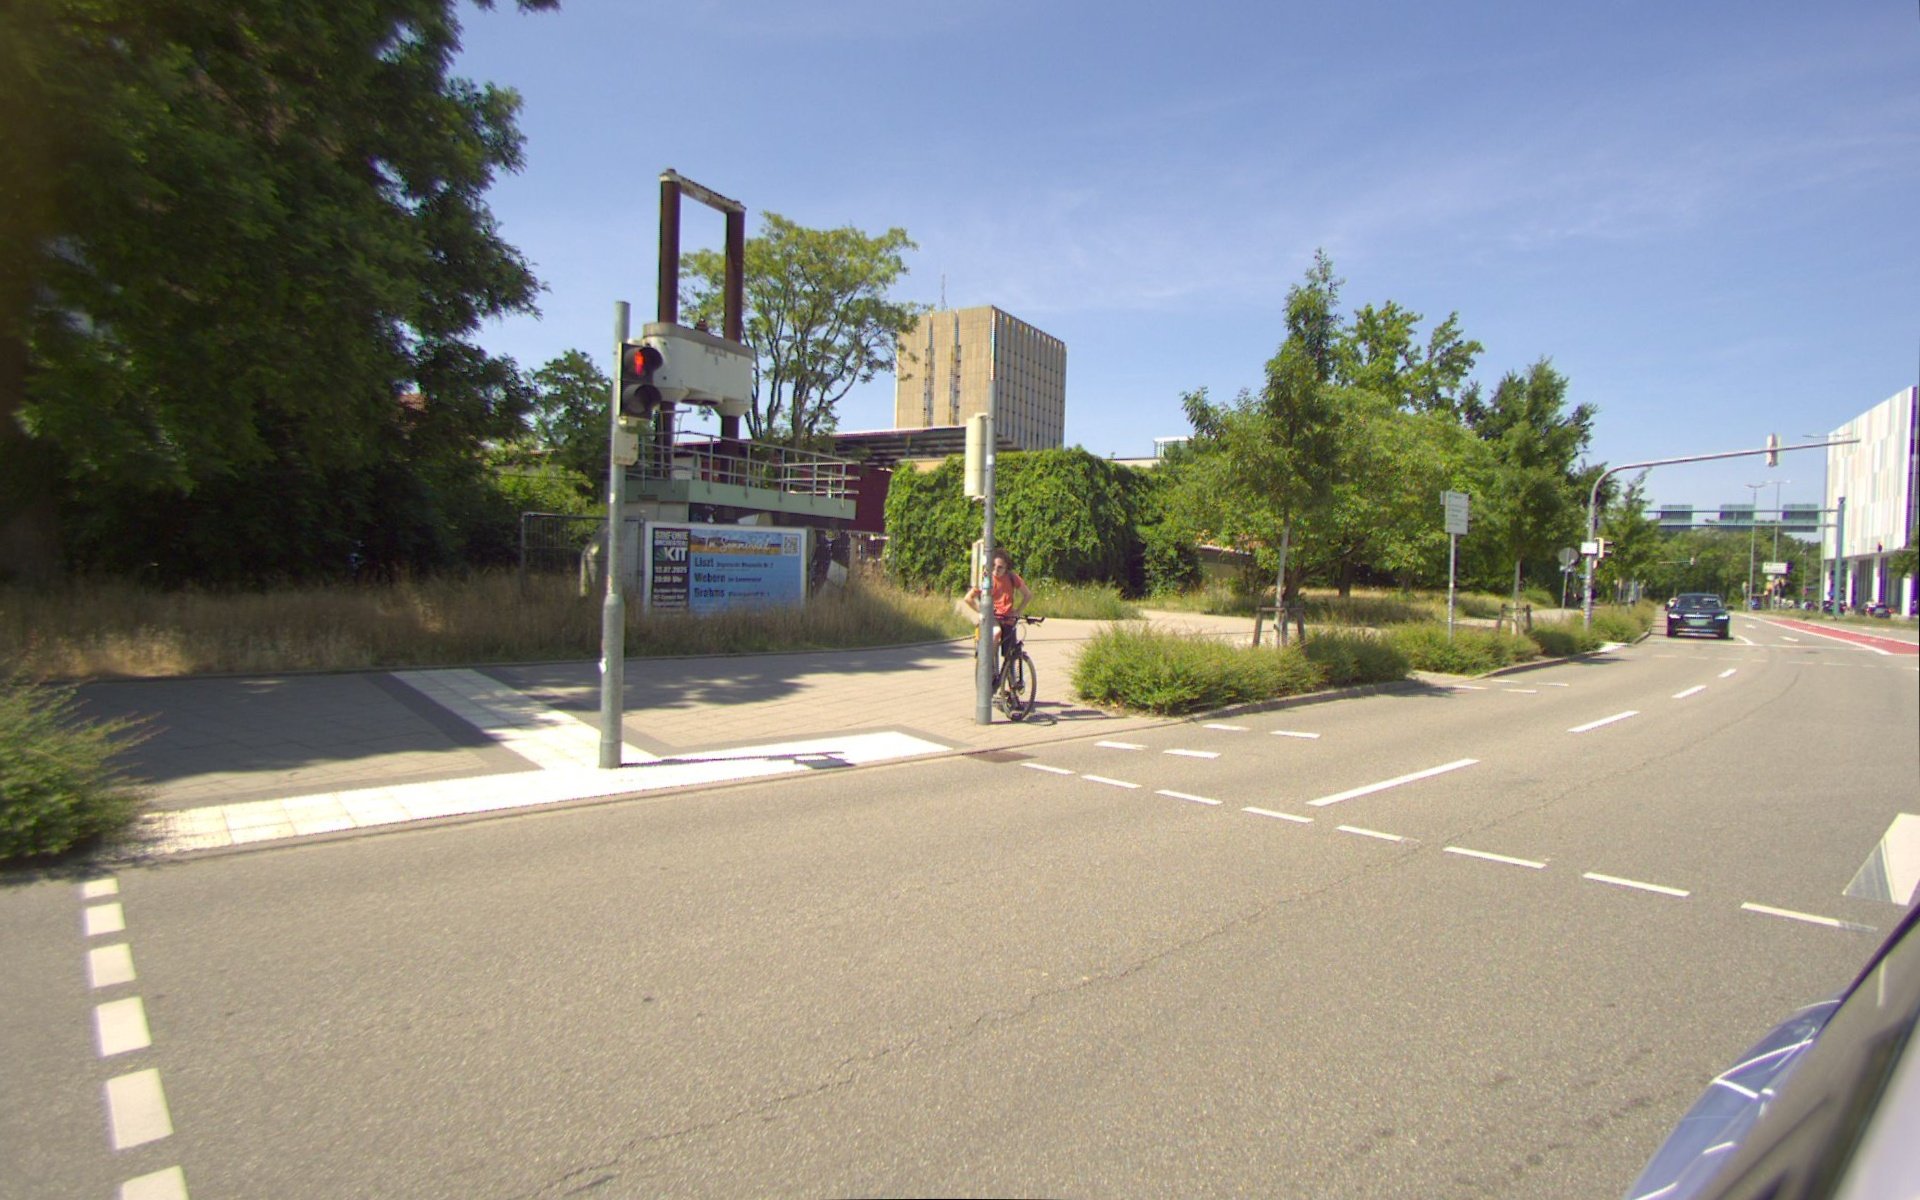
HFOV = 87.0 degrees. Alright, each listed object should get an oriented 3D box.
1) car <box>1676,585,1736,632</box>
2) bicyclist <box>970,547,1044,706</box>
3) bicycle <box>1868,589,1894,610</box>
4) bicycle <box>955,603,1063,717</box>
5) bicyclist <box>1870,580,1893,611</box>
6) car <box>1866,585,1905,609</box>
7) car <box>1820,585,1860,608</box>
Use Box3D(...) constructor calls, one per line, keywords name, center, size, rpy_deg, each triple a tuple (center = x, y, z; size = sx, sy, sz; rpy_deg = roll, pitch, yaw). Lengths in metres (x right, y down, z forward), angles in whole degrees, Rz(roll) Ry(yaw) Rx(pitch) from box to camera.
Box3D(name="car", center=(28.088, 0.354, 38.046), size=(1.700, 1.606, 4.492), rpy_deg=(2, 0, 38))
Box3D(name="bicyclist", center=(0.523, 0.286, 11.460), size=(0.540, 1.737, 0.705), rpy_deg=(3, 1, -17))
Box3D(name="bicycle", center=(59.191, -0.040, 65.069), size=(0.515, 1.252, 2.173), rpy_deg=(2, 0, 24))
Box3D(name="bicycle", center=(0.501, 0.629, 11.377), size=(0.547, 1.058, 2.002), rpy_deg=(2, 2, -16))
Box3D(name="bicyclist", center=(59.224, -0.280, 65.031), size=(0.701, 1.911, 1.129), rpy_deg=(2, -1, 23))
Box3D(name="car", center=(74.384, -0.226, 81.406), size=(1.771, 1.705, 3.948), rpy_deg=(2, 0, 35))
Box3D(name="car", center=(72.025, -0.264, 82.877), size=(1.764, 1.689, 3.955), rpy_deg=(2, 0, 31))
